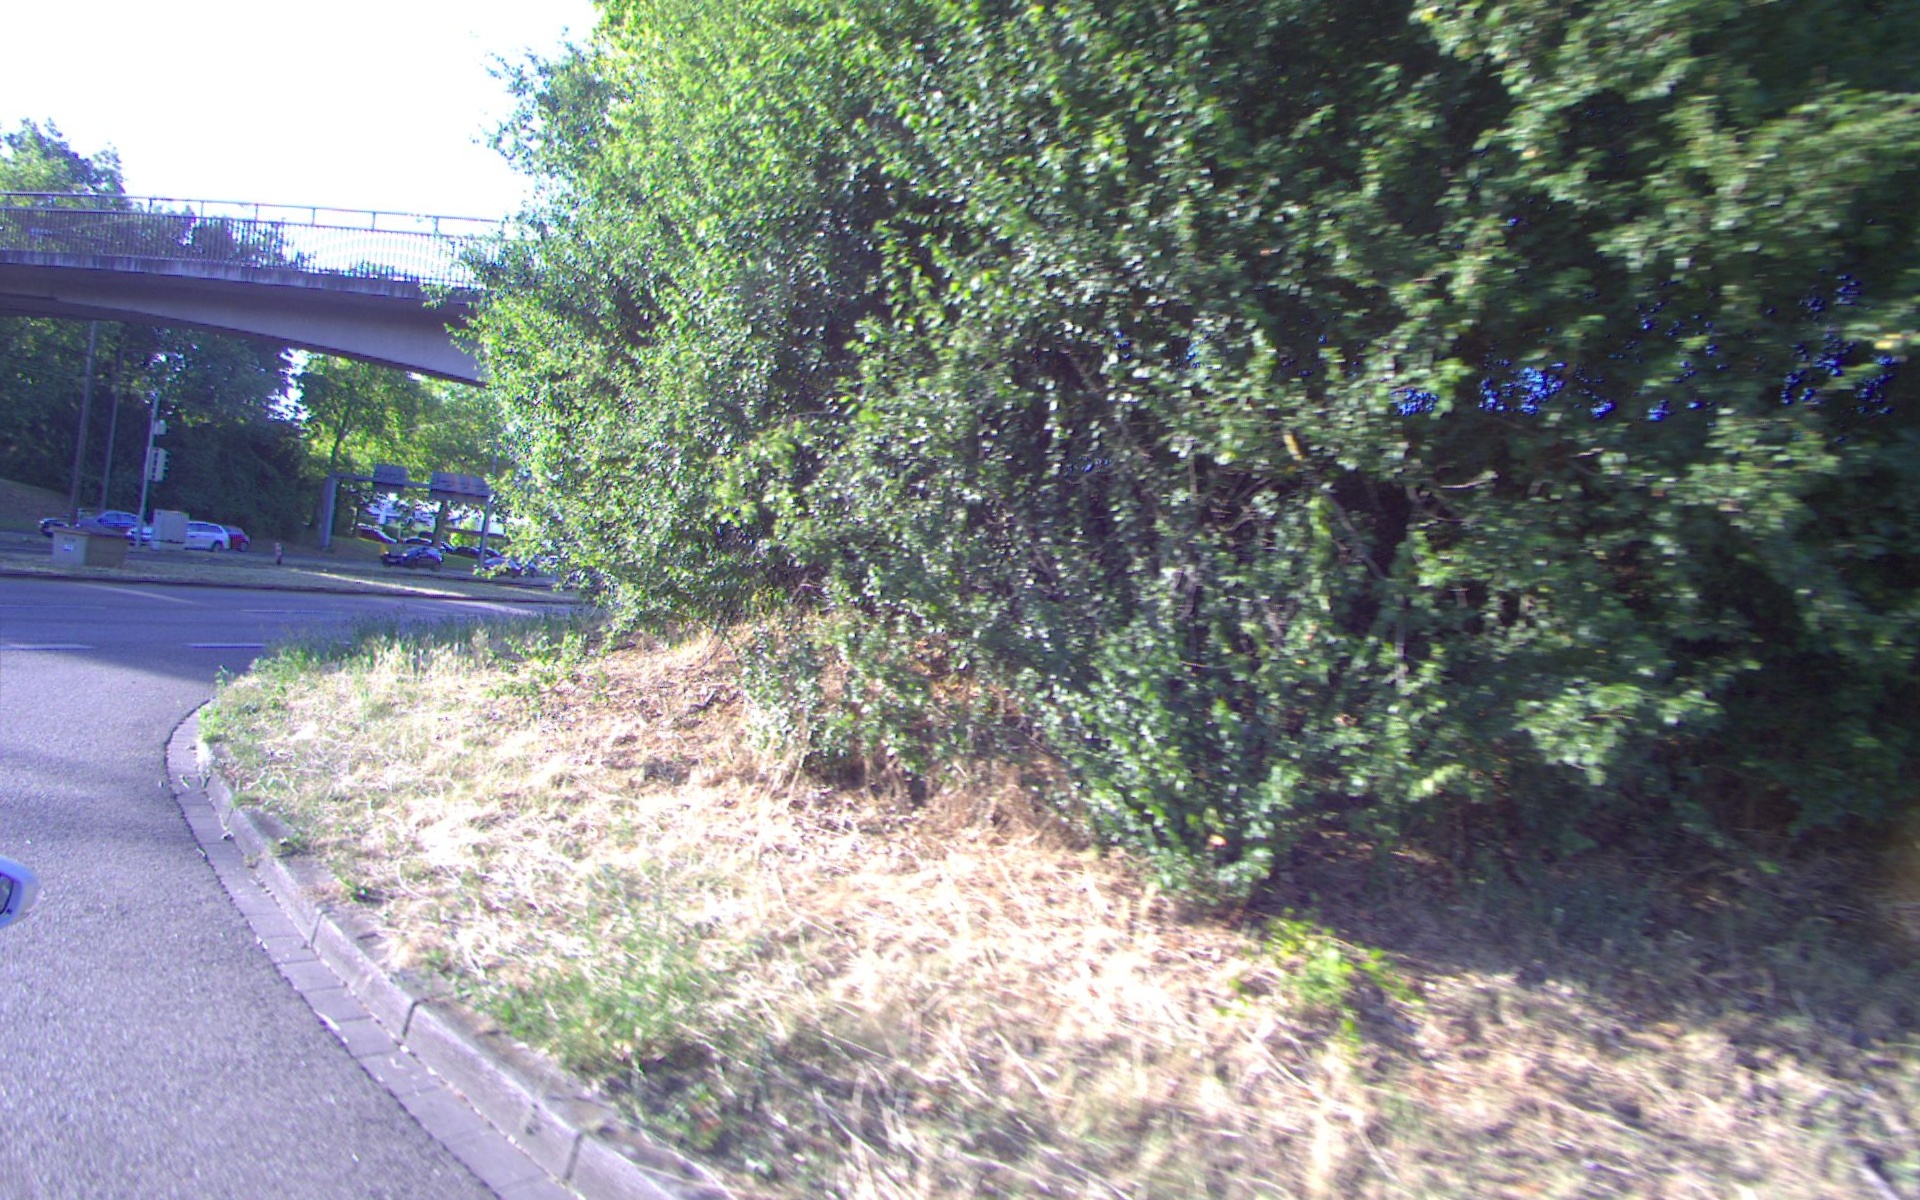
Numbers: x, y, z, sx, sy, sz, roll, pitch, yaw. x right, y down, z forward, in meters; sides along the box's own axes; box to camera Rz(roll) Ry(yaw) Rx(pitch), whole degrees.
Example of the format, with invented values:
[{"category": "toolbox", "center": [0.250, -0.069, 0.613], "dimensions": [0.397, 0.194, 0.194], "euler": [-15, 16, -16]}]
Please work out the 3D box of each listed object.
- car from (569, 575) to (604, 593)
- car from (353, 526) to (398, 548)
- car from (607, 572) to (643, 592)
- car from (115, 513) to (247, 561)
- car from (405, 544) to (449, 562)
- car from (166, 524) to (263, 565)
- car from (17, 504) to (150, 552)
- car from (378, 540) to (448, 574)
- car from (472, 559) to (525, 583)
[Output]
[{"category": "car", "center": [-37.491, -1.579, 101.004], "dimensions": [1.661, 1.432, 4.440], "euler": [8, -1, 1]}, {"category": "car", "center": [-68.024, -7.299, 117.073], "dimensions": [3.925, 1.882, 2.001], "euler": [8, 0, 4]}, {"category": "car", "center": [-32.030, -1.700, 96.356], "dimensions": [1.810, 1.432, 4.021], "euler": [8, -1, 3]}, {"category": "car", "center": [-35.486, -2.817, 46.011], "dimensions": [1.974, 1.460, 4.863], "euler": [8, -1, 3]}, {"category": "car", "center": [-62.029, -5.482, 117.156], "dimensions": [3.993, 1.403, 1.785], "euler": [9, -1, 3]}, {"category": "car", "center": [-42.231, -3.112, 57.111], "dimensions": [1.762, 1.670, 4.361], "euler": [7, -1, 7]}, {"category": "car", "center": [-39.344, -3.189, 45.312], "dimensions": [1.974, 1.460, 4.256], "euler": [8, -1, 3]}, {"category": "car", "center": [-34.883, -2.705, 64.251], "dimensions": [1.763, 1.670, 4.360], "euler": [8, -1, 3]}, {"category": "car", "center": [-34.994, -2.184, 76.429], "dimensions": [1.660, 1.325, 4.313], "euler": [8, -1, 3]}]
